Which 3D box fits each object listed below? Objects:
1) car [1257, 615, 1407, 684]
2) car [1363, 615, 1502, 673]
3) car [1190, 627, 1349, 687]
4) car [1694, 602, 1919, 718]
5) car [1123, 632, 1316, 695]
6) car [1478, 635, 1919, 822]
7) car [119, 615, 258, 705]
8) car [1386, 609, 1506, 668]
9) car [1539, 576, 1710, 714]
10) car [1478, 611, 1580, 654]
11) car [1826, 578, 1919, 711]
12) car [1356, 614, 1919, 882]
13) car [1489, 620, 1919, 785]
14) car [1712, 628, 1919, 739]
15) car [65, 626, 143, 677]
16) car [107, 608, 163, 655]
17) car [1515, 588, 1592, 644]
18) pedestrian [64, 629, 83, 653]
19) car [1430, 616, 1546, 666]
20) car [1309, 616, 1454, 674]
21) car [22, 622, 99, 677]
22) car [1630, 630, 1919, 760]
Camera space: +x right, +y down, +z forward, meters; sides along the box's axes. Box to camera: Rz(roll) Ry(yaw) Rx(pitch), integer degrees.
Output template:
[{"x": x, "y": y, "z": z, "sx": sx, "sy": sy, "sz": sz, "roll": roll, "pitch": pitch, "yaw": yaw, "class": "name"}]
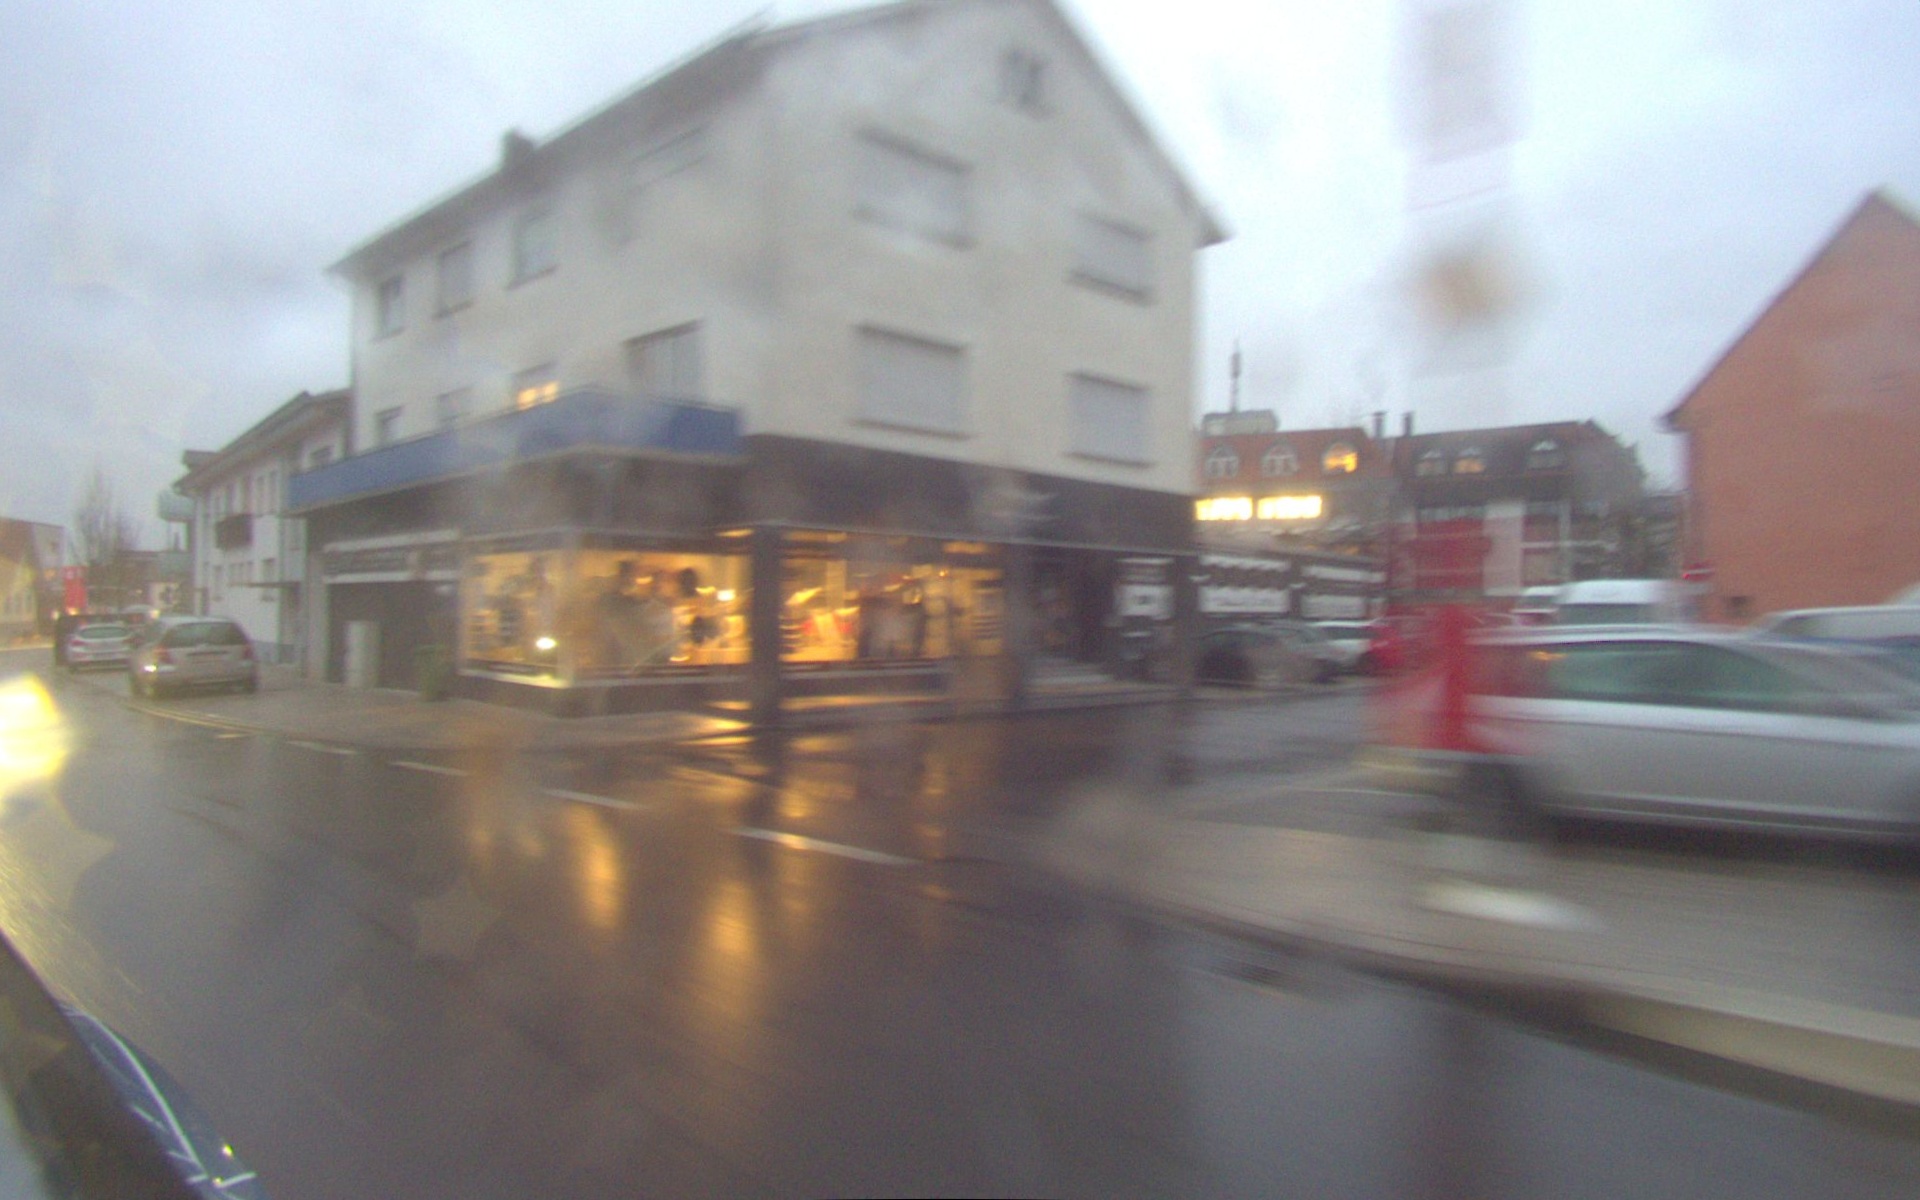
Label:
[{"x": 10.812, "y": 1.455, "z": 29.465, "sx": 3.947, "sy": 1.885, "sz": 1.689, "roll": -2, "pitch": -3, "yaw": 24, "class": "car"}, {"x": 15.256, "y": 1.449, "z": 32.880, "sx": 3.947, "sy": 1.747, "sz": 1.689, "roll": -2, "pitch": -3, "yaw": 24, "class": "car"}, {"x": 8.395, "y": 1.564, "z": 27.484, "sx": 3.947, "sy": 1.550, "sz": 1.689, "roll": -2, "pitch": -3, "yaw": 24, "class": "car"}, {"x": 16.551, "y": 1.074, "z": 18.222, "sx": 5.163, "sy": 1.980, "sz": 1.679, "roll": -4, "pitch": -4, "yaw": 43, "class": "car"}, {"x": 6.439, "y": 1.587, "z": 25.144, "sx": 4.422, "sy": 1.475, "sz": 1.689, "roll": -2, "pitch": -3, "yaw": 24, "class": "car"}, {"x": 7.228, "y": 1.037, "z": 8.874, "sx": 4.452, "sy": 1.411, "sz": 1.678, "roll": -4, "pitch": -4, "yaw": 45, "class": "car"}, {"x": -15.966, "y": 1.183, "z": 20.872, "sx": 3.817, "sy": 1.626, "sz": 1.702, "roll": -2, "pitch": 0, "yaw": 44, "class": "car"}, {"x": 18.278, "y": 1.491, "z": 38.260, "sx": 3.947, "sy": 2.110, "sz": 1.689, "roll": -2, "pitch": -3, "yaw": 24, "class": "car"}, {"x": 15.119, "y": 0.968, "z": 22.812, "sx": 1.978, "sy": 2.682, "sz": 6.666, "roll": 0, "pitch": -2, "yaw": 44, "class": "car"}, {"x": 26.662, "y": 1.564, "z": 47.571, "sx": 3.947, "sy": 1.898, "sz": 1.689, "roll": -2, "pitch": -3, "yaw": 24, "class": "car"}, {"x": 19.607, "y": 0.789, "z": 18.779, "sx": 1.678, "sy": 2.511, "sz": 5.166, "roll": 2, "pitch": -5, "yaw": -45, "class": "car"}, {"x": 5.301, "y": 0.902, "z": 6.976, "sx": 4.446, "sy": 1.511, "sz": 1.746, "roll": -3, "pitch": -4, "yaw": 40, "class": "car"}, {"x": 8.762, "y": 1.025, "z": 10.854, "sx": 2.077, "sy": 1.511, "sz": 5.048, "roll": 2, "pitch": -4, "yaw": -44, "class": "car"}, {"x": 13.442, "y": 1.139, "z": 14.101, "sx": 1.677, "sy": 1.475, "sz": 4.455, "roll": 2, "pitch": -4, "yaw": -42, "class": "car"}, {"x": -27.497, "y": 1.596, "z": 32.475, "sx": 1.772, "sy": 1.467, "sz": 4.400, "roll": -1, "pitch": 0, "yaw": -41, "class": "car"}, {"x": -51.169, "y": 1.945, "z": 62.852, "sx": 2.013, "sy": 2.679, "sz": 4.222, "roll": -2, "pitch": 0, "yaw": -31, "class": "car"}, {"x": 29.975, "y": 0.841, "z": 51.056, "sx": 4.924, "sy": 2.686, "sz": 2.002, "roll": 2, "pitch": -3, "yaw": -43, "class": "car"}, {"x": -62.592, "y": 2.922, "z": 71.476, "sx": 0.641, "sy": 1.674, "sz": 0.649, "roll": 1, "pitch": -4, "yaw": 2, "class": "pedestrian"}, {"x": 21.197, "y": 1.676, "z": 40.843, "sx": 3.947, "sy": 1.898, "sz": 1.689, "roll": -2, "pitch": -3, "yaw": 24, "class": "car"}, {"x": 12.901, "y": 1.418, "z": 31.132, "sx": 3.947, "sy": 1.665, "sz": 1.689, "roll": -2, "pitch": -3, "yaw": 24, "class": "car"}, {"x": -34.364, "y": 1.886, "z": 38.762, "sx": 1.855, "sy": 1.914, "sz": 4.843, "roll": -1, "pitch": -1, "yaw": -38, "class": "car"}, {"x": 11.182, "y": 1.131, "z": 12.557, "sx": 1.677, "sy": 1.475, "sz": 4.455, "roll": 2, "pitch": -4, "yaw": -42, "class": "car"}]
